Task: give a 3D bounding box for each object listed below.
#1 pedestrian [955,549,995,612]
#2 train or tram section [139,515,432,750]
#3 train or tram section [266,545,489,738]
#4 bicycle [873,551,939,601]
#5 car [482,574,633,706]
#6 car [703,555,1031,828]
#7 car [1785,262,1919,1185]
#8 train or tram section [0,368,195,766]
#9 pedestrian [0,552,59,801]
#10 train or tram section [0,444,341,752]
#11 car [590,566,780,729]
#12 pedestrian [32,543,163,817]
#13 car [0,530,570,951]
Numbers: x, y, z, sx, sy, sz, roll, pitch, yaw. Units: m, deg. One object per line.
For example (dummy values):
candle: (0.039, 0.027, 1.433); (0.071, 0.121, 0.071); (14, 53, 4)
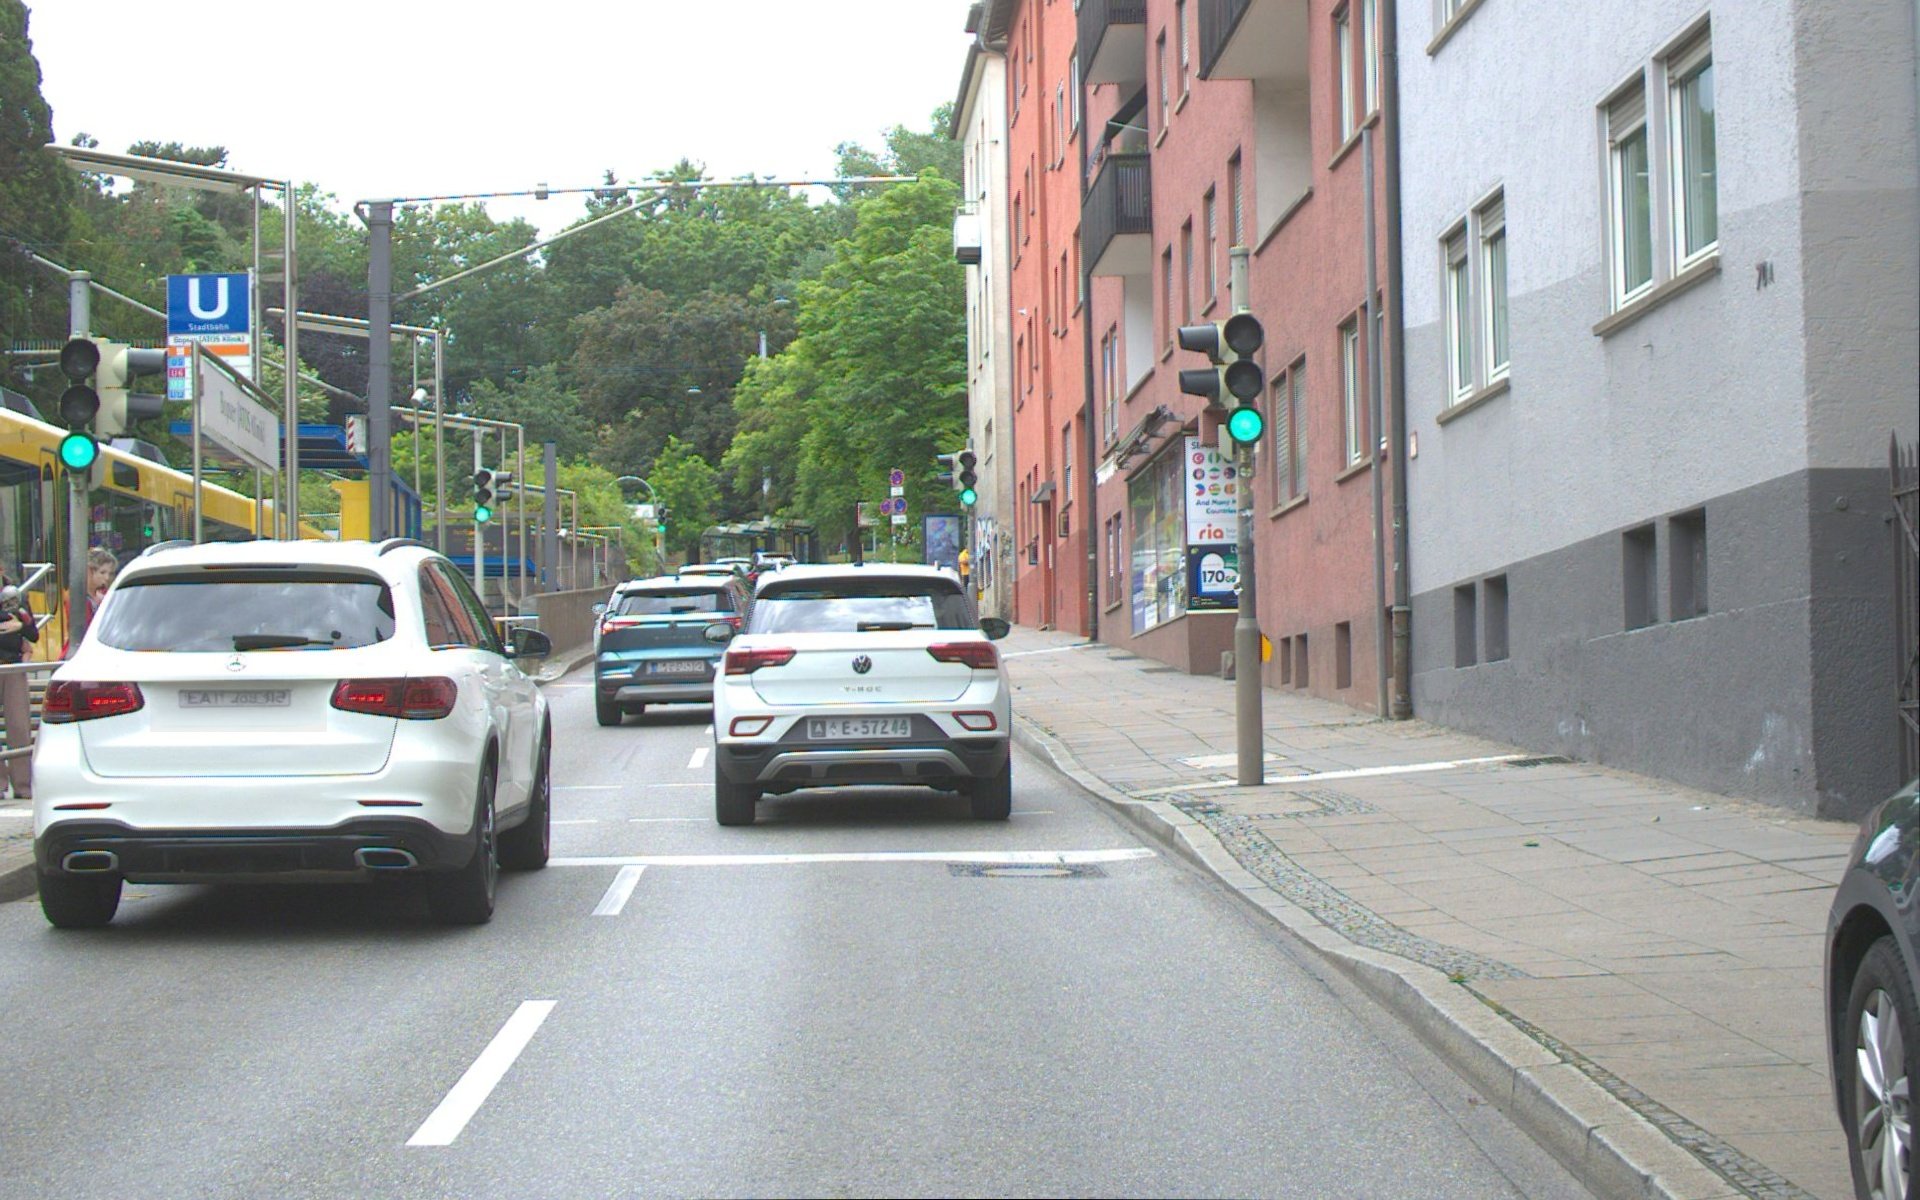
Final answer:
pedestrian: (0.399, -0.539, 94.605); (0.833, 1.706, 0.822); (-3, 1, -16)
train or tram section: (-11.096, 0.647, 57.895); (2.949, 3.472, 12.219); (-1, -1, -2)
train or tram section: (-11.725, 0.865, 70.442); (2.949, 3.497, 12.987); (-2, -1, -3)
bicycle: (-1.381, -0.599, 87.241); (0.639, 1.139, 2.065); (-12, 5, -28)
car: (-6.027, 0.566, 51.844); (1.993, 1.875, 4.001); (0, 1, -3)
car: (-0.571, 0.497, 21.509); (1.864, 1.551, 3.895); (0, 1, -1)
car: (2.717, 0.223, 5.006); (1.857, 1.705, 4.308); (-2, 1, -1)
train or tram section: (-10.089, -0.175, 33.501); (2.949, 3.531, 12.398); (-1, -2, -2)
pedestrian: (-6.553, 0.520, 23.664); (0.621, 1.689, 0.660); (-1, 0, -12)
train or tram section: (-10.601, 0.239, 45.770); (2.949, 3.460, 12.218); (-1, -3, -2)
car: (-2.928, 0.469, 37.262); (1.860, 1.626, 3.959); (-1, 1, -2)
pedestrian: (-5.367, 0.487, 21.423); (0.678, 1.674, 0.685); (-1, 0, -5)
car: (-2.914, 0.523, 15.643); (1.877, 1.646, 4.342); (0, 1, -1)
